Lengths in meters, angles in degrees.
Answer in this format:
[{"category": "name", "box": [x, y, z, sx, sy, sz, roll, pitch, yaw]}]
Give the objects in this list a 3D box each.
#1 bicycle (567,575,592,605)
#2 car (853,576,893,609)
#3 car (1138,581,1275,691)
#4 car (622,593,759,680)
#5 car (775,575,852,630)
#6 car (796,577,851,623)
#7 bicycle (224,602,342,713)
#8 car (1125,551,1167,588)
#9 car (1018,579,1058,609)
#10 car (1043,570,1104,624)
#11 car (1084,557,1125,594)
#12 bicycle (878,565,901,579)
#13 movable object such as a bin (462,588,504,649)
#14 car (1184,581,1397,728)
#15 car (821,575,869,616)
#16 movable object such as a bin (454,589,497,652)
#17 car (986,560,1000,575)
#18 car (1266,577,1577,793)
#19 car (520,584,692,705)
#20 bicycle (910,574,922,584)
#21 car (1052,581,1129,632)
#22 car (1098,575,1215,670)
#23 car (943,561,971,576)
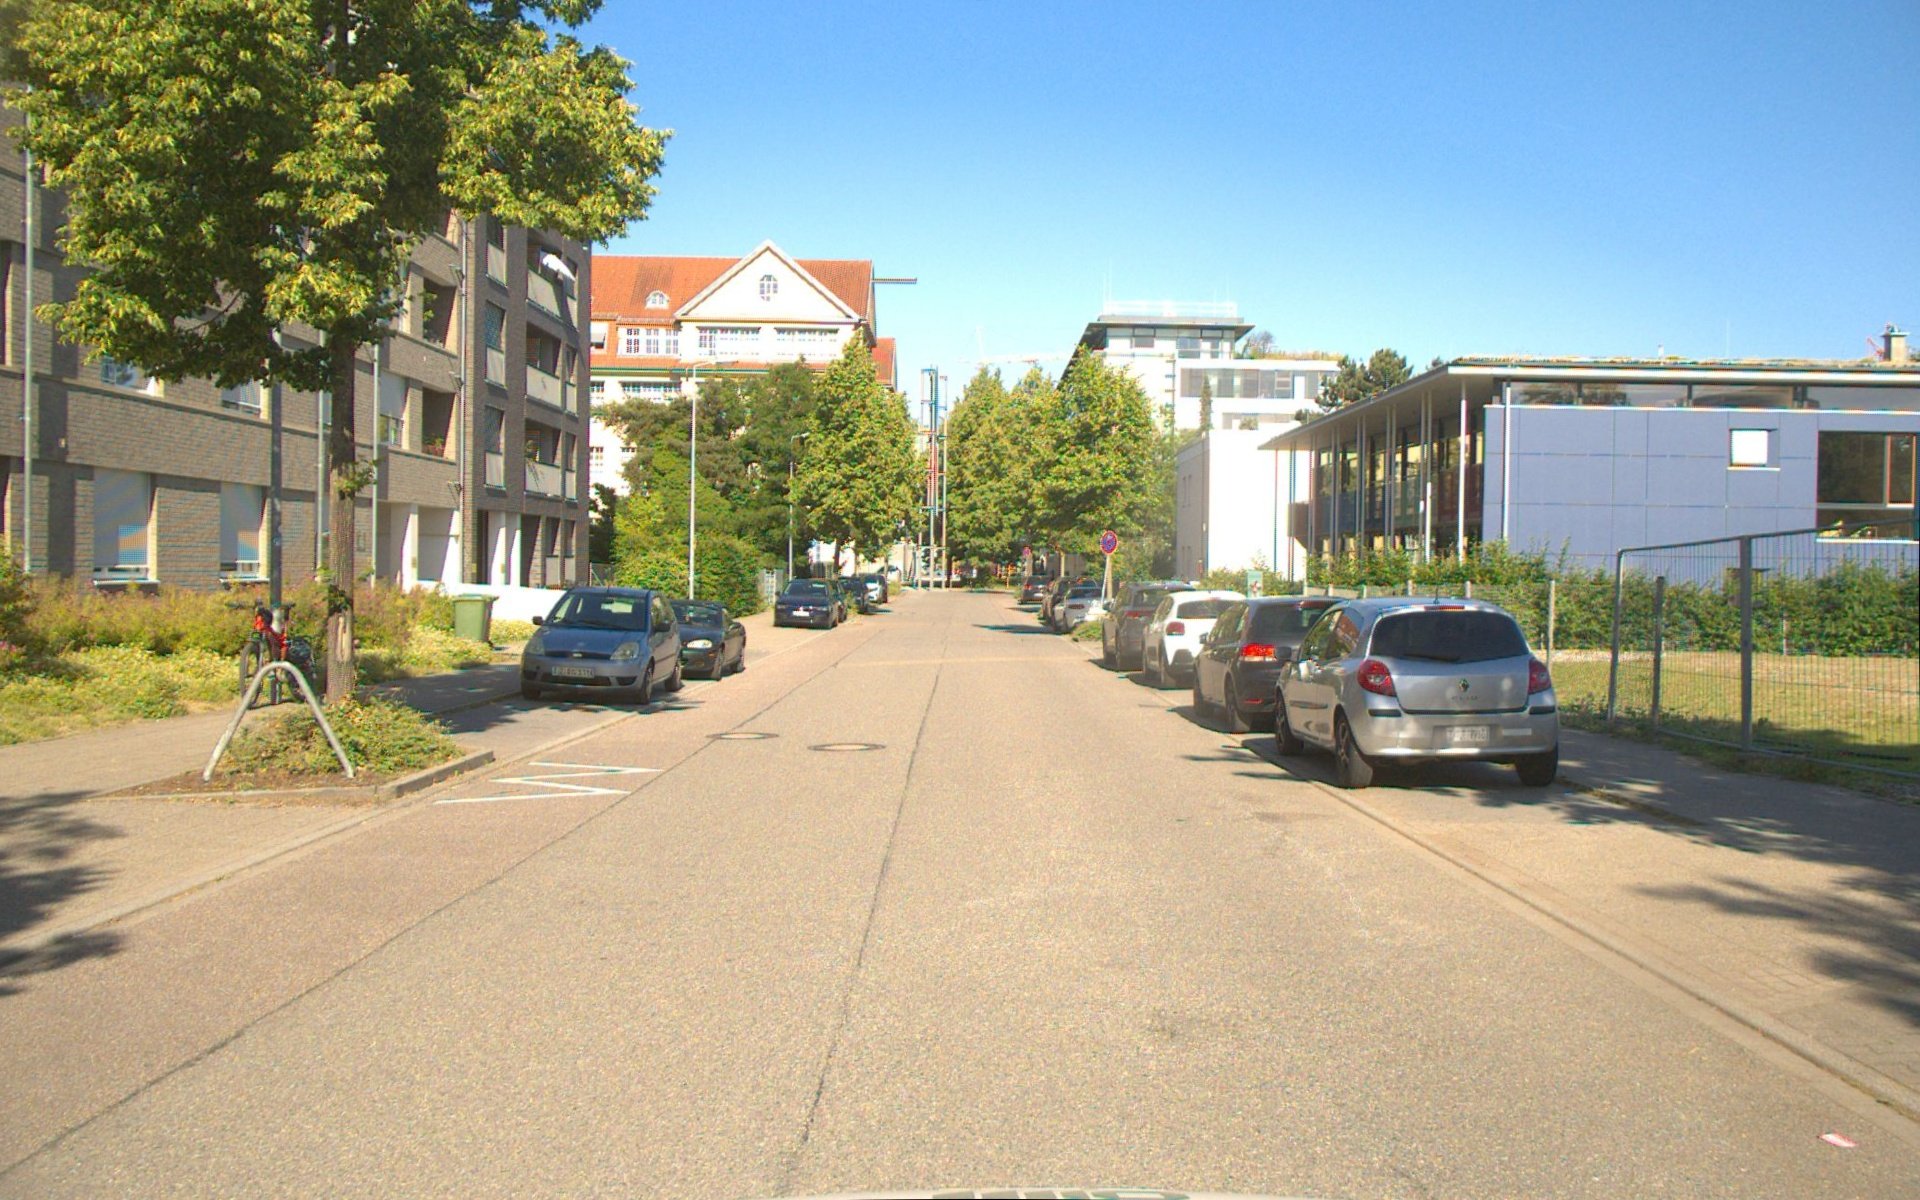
[{"category": "bicycle", "box": [-11.670, -0.315, 50.786, 0.248, 0.852, 1.775, 1, 2, 3]}, {"category": "car", "box": [-4.227, -0.374, 80.820, 1.741, 1.557, 4.000, 1, 0, 0]}, {"category": "car", "box": [3.953, 0.519, 27.050, 1.645, 1.568, 3.849, 1, 2, 0]}, {"category": "car", "box": [-4.497, 0.565, 28.052, 1.566, 1.238, 3.876, 3, 1, 1]}, {"category": "car", "box": [-4.508, 0.056, 51.533, 1.725, 1.554, 4.002, 3, 1, 4]}, {"category": "car", "box": [-4.754, -0.022, 58.018, 1.596, 1.527, 3.578, 1, 1, 0]}, {"category": "bicycle", "box": [-7.518, 0.608, 18.444, 0.277, 1.144, 1.986, 1, 1, 7]}, {"category": "car", "box": [10.531, -1.735, 93.785, 1.952, 2.049, 4.000, 0, 1, 0]}, {"category": "car", "box": [4.101, -0.312, 87.229, 1.952, 1.512, 4.000, 1, 0, 0]}, {"category": "car", "box": [3.916, -0.135, 57.763, 1.784, 1.748, 4.119, -2, 1, 0]}, {"category": "car", "box": [8.177, -1.362, 93.718, 1.982, 2.049, 4.000, 1, 0, 0]}, {"category": "bicycle", "box": [-4.471, -1.791, 105.275, 1.438, 0.857, 0.335, 1, 2, -4]}, {"category": "movable object such as a bin", "box": [-8.920, 0.334, 30.935, 0.595, 1.102, 0.636, 1, 2, -1]}, {"category": "car", "box": [3.741, 0.565, 19.391, 1.653, 1.520, 4.078, 1, 0, 0]}, {"category": "car", "box": [-4.653, -0.209, 67.403, 1.660, 1.633, 3.942, 1, 1, 0]}, {"category": "movable object such as a bin", "box": [-8.820, 0.360, 30.102, 0.595, 1.109, 0.636, 1, 2, -1]}, {"category": "car", "box": [4.713, -4.636, 237.577, 1.952, 2.048, 4.001, 1, 2, 1]}, {"category": "car", "box": [3.854, 0.612, 14.497, 1.628, 1.539, 4.001, 1, 2, 1]}, {"category": "car", "box": [-4.762, 0.542, 22.714, 1.578, 1.490, 3.874, 0, 1, -1]}, {"category": "bicycle", "box": [-3.352, -1.582, 125.238, 0.370, 0.695, 1.066, 0, 2, -36]}, {"category": "car", "box": [3.946, 0.177, 50.698, 1.793, 1.447, 4.231, -2, 0, -3]}, {"category": "car", "box": [3.755, 0.380, 32.218, 1.690, 1.681, 4.326, -1, 1, -1]}, {"category": "car", "box": [-0.388, -4.538, 236.241, 3.904, 2.048, 2.001, 1, 2, 1]}]
